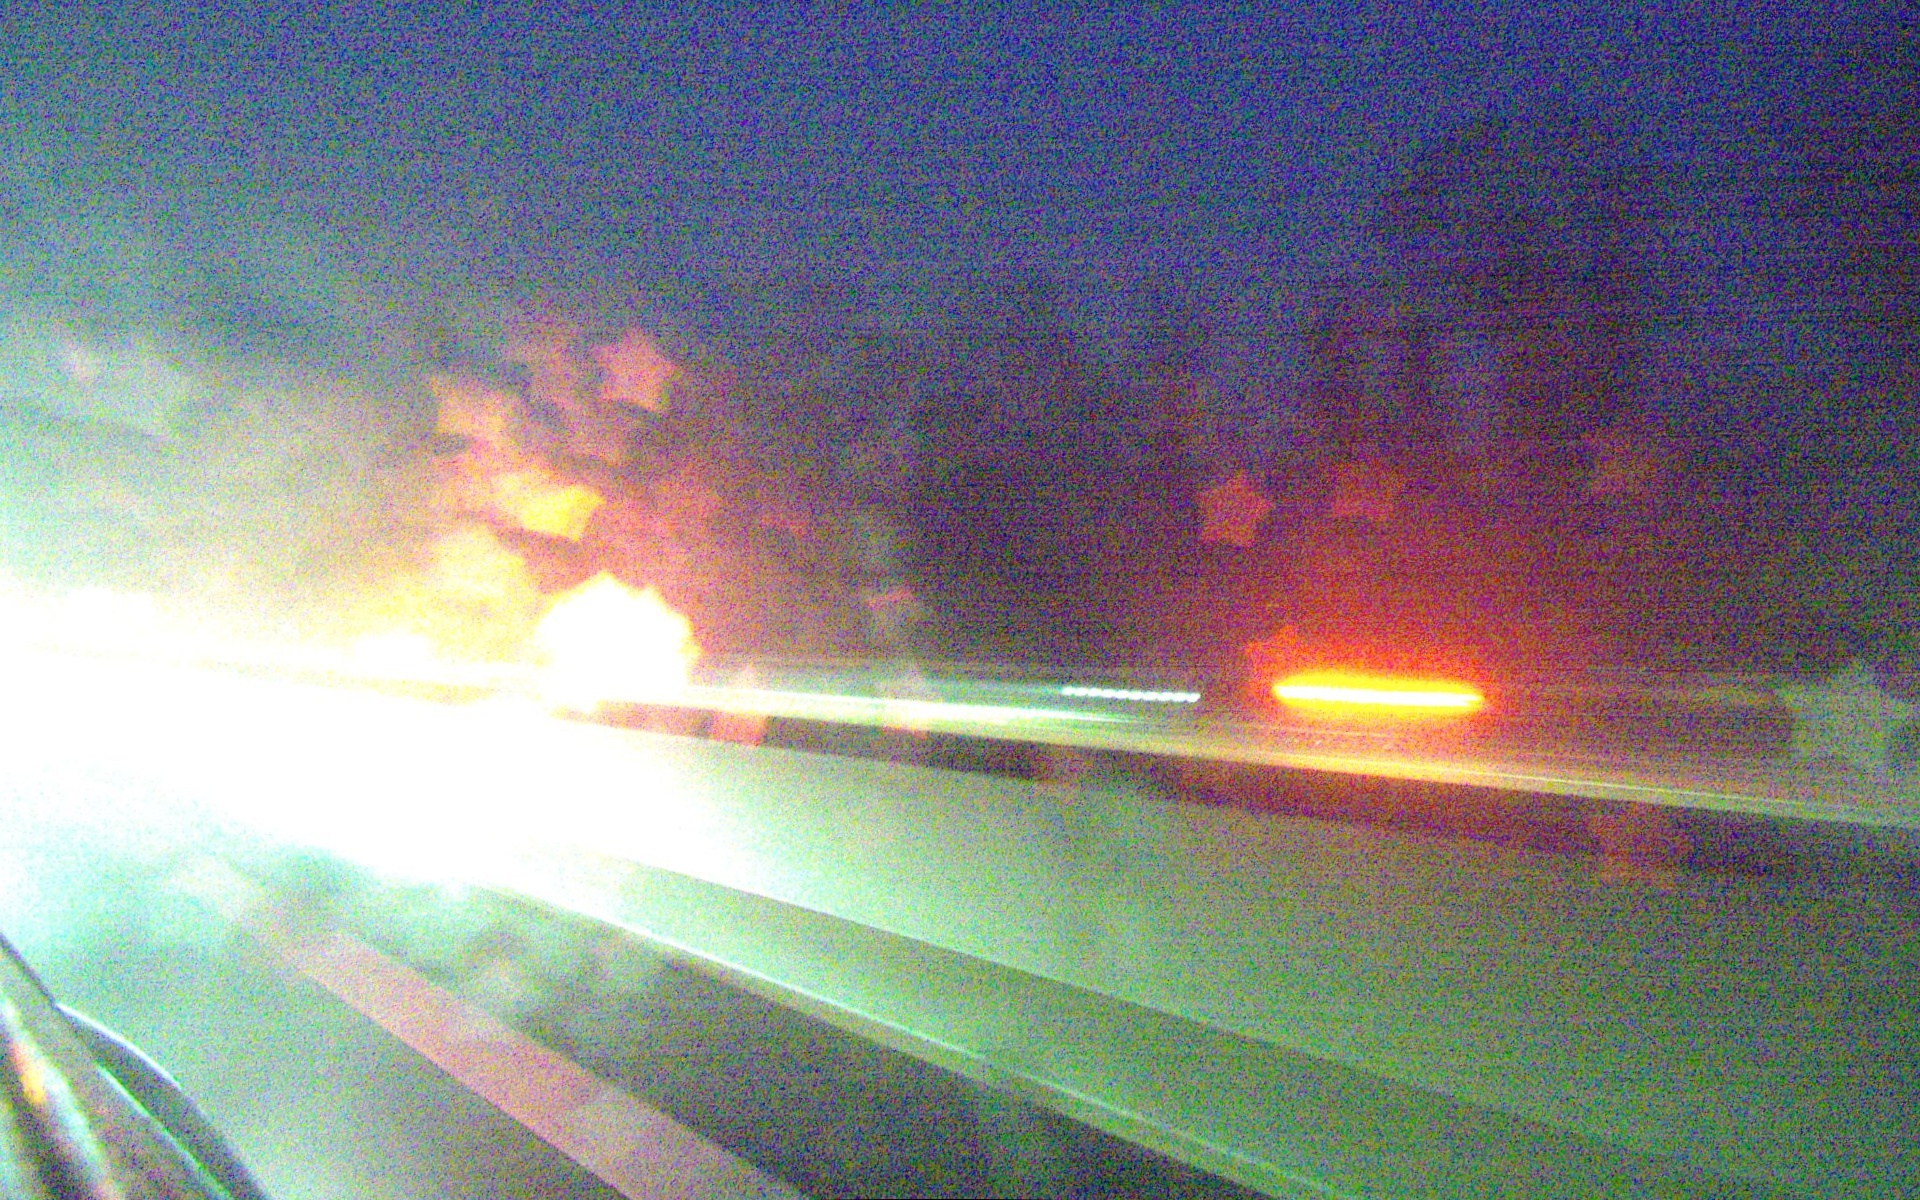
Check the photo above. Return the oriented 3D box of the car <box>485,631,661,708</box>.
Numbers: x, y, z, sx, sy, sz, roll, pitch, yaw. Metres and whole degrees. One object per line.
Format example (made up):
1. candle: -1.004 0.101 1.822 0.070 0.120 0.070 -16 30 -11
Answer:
1. car: -9.113 1.542 23.592 5.125 1.594 1.633 -2 -1 41

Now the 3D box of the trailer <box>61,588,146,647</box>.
1. trailer: -68.836 1.509 81.158 15.708 4.337 2.856 -2 -1 41

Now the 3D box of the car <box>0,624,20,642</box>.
1. car: -87.773 3.000 92.876 4.345 1.610 1.661 -2 -3 40

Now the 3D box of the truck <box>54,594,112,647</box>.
1. truck: -74.980 1.765 86.470 6.742 4.368 2.857 -2 -1 41

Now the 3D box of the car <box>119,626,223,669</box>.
1. car: -26.791 1.581 34.317 4.284 1.355 1.942 -2 -1 40

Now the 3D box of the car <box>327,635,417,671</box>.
1. car: -24.670 2.185 42.402 4.284 1.355 1.942 -2 -1 40

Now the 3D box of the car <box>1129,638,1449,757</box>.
1. car: 5.129 1.430 16.145 4.498 1.629 1.853 -2 -3 40

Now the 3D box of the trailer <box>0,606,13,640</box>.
1. trailer: -129.363 3.068 134.891 14.400 4.326 3.016 -1 -3 41
